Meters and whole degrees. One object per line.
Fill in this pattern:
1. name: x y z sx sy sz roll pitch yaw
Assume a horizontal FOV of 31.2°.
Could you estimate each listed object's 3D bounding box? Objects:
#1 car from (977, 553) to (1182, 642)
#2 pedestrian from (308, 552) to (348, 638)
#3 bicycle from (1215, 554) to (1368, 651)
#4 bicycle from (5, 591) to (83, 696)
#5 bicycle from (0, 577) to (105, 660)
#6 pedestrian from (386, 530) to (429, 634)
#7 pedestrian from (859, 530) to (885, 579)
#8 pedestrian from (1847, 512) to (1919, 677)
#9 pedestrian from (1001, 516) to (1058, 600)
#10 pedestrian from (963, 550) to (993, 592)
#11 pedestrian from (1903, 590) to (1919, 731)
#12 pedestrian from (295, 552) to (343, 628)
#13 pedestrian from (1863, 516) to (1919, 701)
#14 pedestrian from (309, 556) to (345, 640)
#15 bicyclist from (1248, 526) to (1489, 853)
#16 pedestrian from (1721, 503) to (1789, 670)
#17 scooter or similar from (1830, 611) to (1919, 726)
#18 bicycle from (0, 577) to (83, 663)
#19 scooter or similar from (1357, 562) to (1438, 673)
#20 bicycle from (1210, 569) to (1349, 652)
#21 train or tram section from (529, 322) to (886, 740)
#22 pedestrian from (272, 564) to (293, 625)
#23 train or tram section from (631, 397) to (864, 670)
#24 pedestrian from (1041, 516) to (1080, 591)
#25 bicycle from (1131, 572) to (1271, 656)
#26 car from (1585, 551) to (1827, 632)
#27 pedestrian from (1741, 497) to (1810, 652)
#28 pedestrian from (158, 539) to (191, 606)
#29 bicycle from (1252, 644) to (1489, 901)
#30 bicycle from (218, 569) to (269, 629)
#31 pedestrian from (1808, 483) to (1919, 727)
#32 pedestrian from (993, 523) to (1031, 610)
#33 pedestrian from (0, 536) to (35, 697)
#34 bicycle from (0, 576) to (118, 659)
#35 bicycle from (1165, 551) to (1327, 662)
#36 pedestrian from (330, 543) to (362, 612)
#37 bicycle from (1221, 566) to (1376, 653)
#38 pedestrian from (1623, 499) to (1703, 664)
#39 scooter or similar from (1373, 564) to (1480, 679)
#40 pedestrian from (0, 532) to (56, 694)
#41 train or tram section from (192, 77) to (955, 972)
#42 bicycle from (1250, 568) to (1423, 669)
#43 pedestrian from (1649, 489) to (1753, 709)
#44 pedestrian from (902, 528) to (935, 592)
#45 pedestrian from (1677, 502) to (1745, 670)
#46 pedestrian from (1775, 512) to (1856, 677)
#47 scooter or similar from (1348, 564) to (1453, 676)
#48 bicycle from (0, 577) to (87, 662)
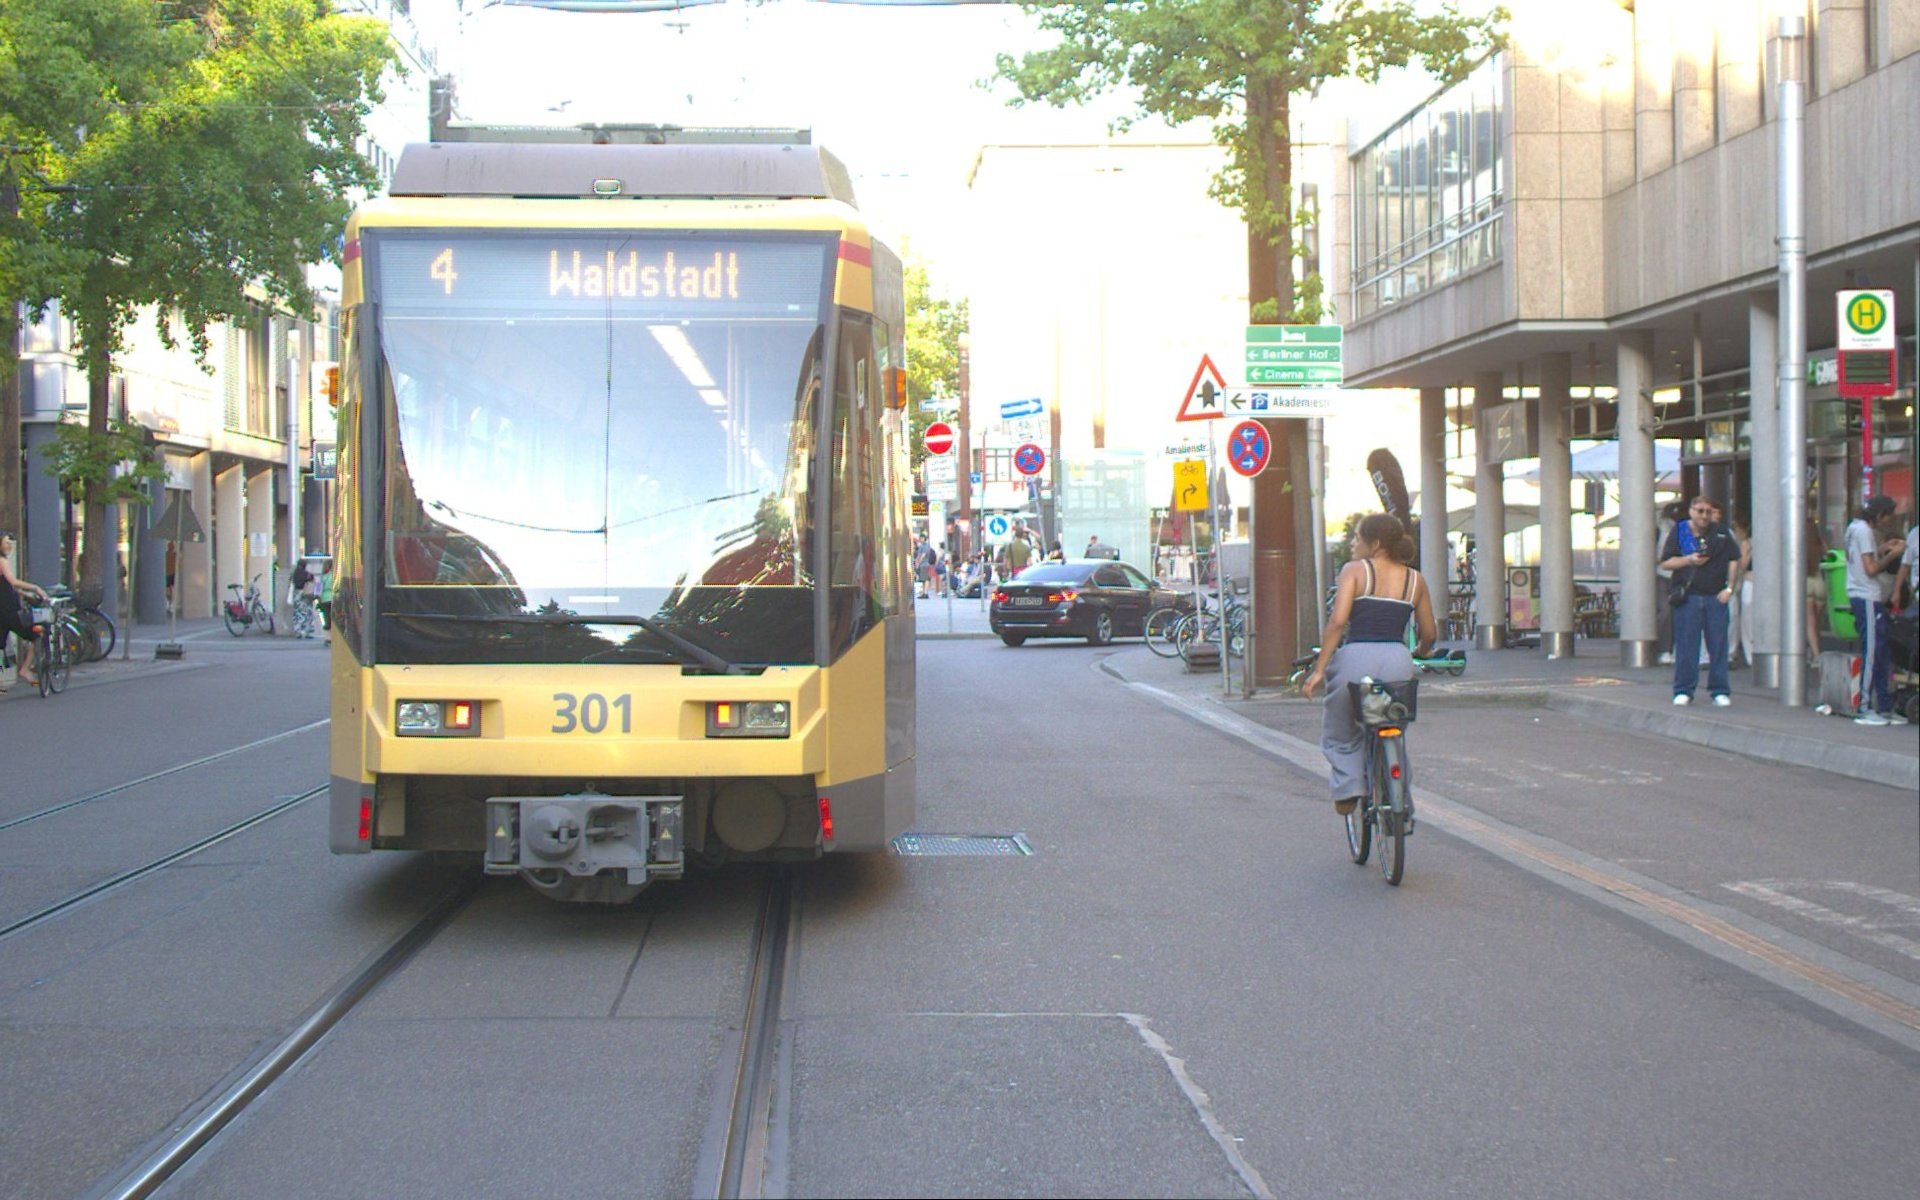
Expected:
1. car: 1.999 -0.038 56.328 1.772 1.404 4.046 0 0 28
2. pedestrian: -11.445 -0.088 62.250 0.684 1.536 0.605 -1 0 -9
3. bicycle: 4.514 0.029 46.912 1.914 1.218 0.763 -3 1 -6
4. bicycle: -9.669 0.442 36.325 0.488 1.041 1.778 0 1 -5
5. bicycle: -12.063 0.230 44.686 1.772 1.041 0.489 1 1 -2
6. pedestrian: -10.314 -0.332 64.183 0.773 1.919 0.709 -1 0 -10
7. pedestrian: -3.011 -1.564 117.663 0.767 1.655 0.794 0 1 10
8. pedestrian: 10.160 -0.064 37.623 0.663 1.780 0.719 -1 0 -1
9. pedestrian: 1.556 -0.937 76.988 1.013 1.857 1.043 0 0 -16
10. pedestrian: 0.536 -0.847 101.089 0.792 1.217 0.769 0 1 -5
11. pedestrian: 7.521 0.448 25.649 0.813 1.039 0.544 0 0 0
12. pedestrian: -12.151 -0.181 65.159 0.555 1.429 0.684 -1 0 36
13. pedestrian: 8.636 0.068 31.225 0.648 1.655 0.650 -1 1 -1
14. pedestrian: -11.333 -0.043 61.557 0.603 1.489 0.555 -1 0 -10
15. bicyclist: 1.926 0.407 16.340 0.997 1.497 0.857 1 1 -1
16. pedestrian: 8.672 -0.152 37.510 0.539 1.800 0.604 -1 1 -3
17. scooter or similar: 7.364 0.538 27.310 0.834 0.881 0.686 1 0 13
18. bicycle: -12.023 0.242 43.383 1.772 1.041 0.489 1 1 -2
19. scooter or similar: 5.122 0.197 40.214 0.393 1.247 1.189 0 2 37
20. bicycle: 4.509 0.143 48.578 1.852 1.105 0.667 -2 1 -4
21. train or tram section: -2.292 -0.682 34.600 2.800 3.308 14.510 0 1 -2
22. pedestrian: -17.279 -0.136 87.656 0.508 1.542 0.518 -1 0 -10
23. train or tram section: -2.870 -0.944 49.109 2.800 3.308 14.510 0 1 -2
24. pedestrian: 2.477 -1.150 84.622 0.733 1.817 0.820 -1 1 -16
25. bicycle: 3.379 0.189 48.335 1.852 1.105 0.667 -2 1 -4
26. car: 13.096 -0.150 60.501 3.889 1.404 1.775 0 0 2
27. pedestrian: 9.871 -0.312 41.638 0.663 1.842 0.719 -1 0 4
28. pedestrian: -20.411 -0.713 89.293 0.713 1.719 0.709 -1 0 -3
29. bicycle: 1.926 0.786 16.449 0.815 1.069 2.113 1 1 -1
30. bicycle: -13.840 -0.026 66.479 0.498 1.104 1.800 0 2 3
31. pedestrian: 6.922 0.034 26.337 0.639 1.833 0.668 -1 0 -1
32. pedestrian: 1.038 -0.663 68.700 0.718 1.719 0.709 -1 0 -1
33. pedestrian: -10.284 0.164 36.687 0.602 1.693 0.535 1 1 27
34. bicycle: -12.046 0.225 45.267 1.772 1.041 0.489 1 1 -2
35. bicycle: 3.662 0.077 44.063 1.914 1.328 0.726 -3 1 -6
36. pedestrian: -15.504 -0.568 86.831 0.713 1.719 0.709 -1 0 -3
37. bicycle: 4.537 0.121 46.167 1.914 1.074 0.763 -3 1 -6
38. pedestrian: 7.985 -0.213 39.057 0.668 1.833 0.880 -1 0 -2
39. scooter or similar: 5.284 0.235 38.894 1.112 1.247 0.497 -2 2 -32
40. pedestrian: -9.938 0.129 36.223 0.602 1.693 0.535 1 1 27
41. train or tram section: -1.720 -0.416 20.047 2.800 3.308 14.510 0 1 -2
42. bicycle: 4.703 0.225 43.016 1.995 1.151 0.726 -3 1 -6
43. pedestrian: 6.315 -0.012 29.325 0.668 1.833 0.708 -1 0 -2
44. pedestrian: -1.178 -1.146 97.885 0.733 1.817 0.820 -1 1 -16
45. pedestrian: 8.143 -0.152 37.297 0.539 1.800 0.604 -1 1 -3
46. pedestrian: 9.372 -0.063 37.685 0.663 1.780 0.719 -1 0 -1
47. scooter or similar: 5.077 0.223 39.624 1.187 1.247 0.393 -2 2 -31
48. bicycle: -12.028 0.240 43.626 1.772 1.041 0.489 1 1 -2
